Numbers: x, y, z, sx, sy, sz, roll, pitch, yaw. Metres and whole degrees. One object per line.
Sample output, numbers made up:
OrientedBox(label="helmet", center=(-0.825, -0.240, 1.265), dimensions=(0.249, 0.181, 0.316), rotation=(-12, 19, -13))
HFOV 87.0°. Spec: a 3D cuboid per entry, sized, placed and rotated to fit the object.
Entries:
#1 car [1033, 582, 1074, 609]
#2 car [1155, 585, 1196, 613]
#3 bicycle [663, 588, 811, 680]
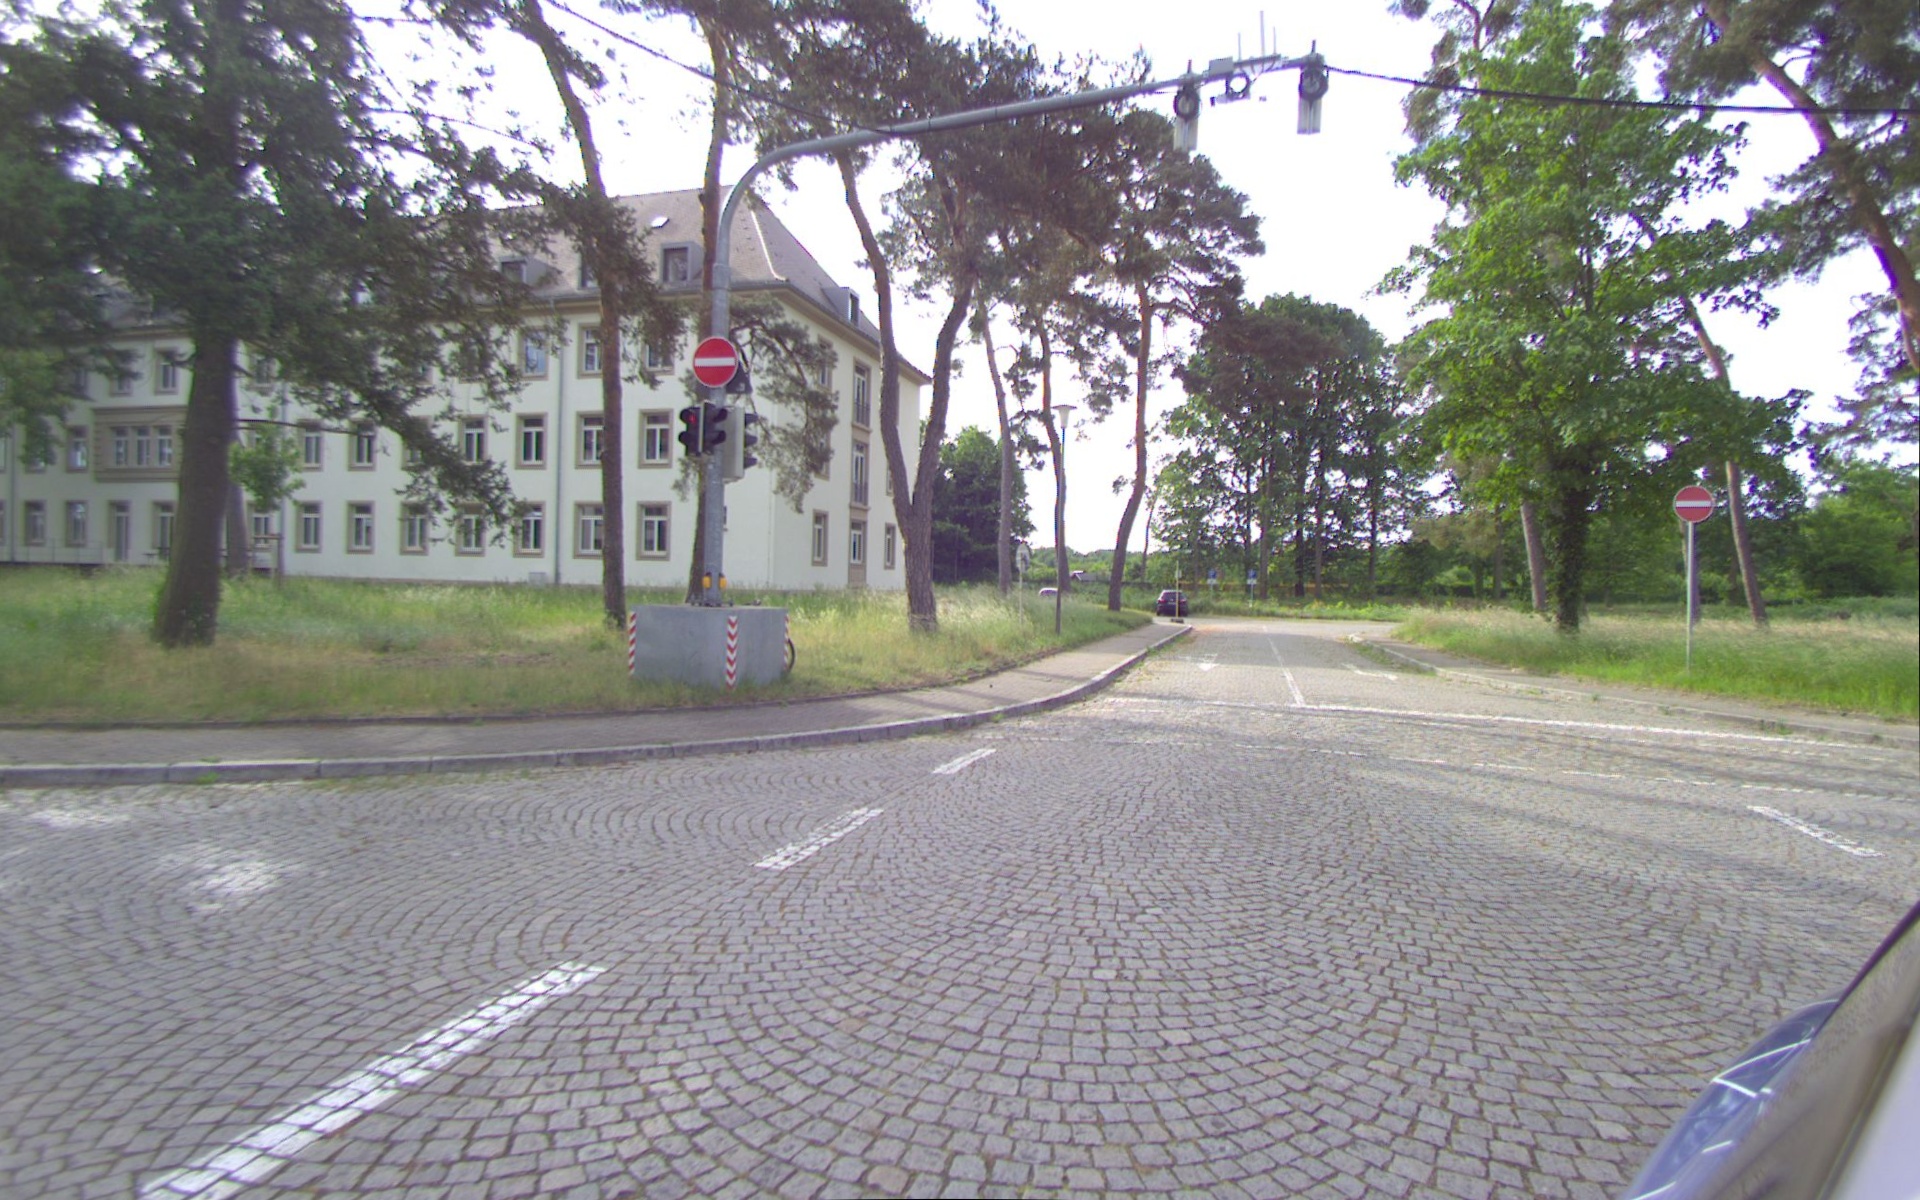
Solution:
OrientedBox(label="car", center=(5.831, -0.298, 62.879), dimensions=(1.750, 1.552, 3.673), rotation=(2, 1, 18))
OrientedBox(label="car", center=(12.814, -0.112, 59.928), dimensions=(1.974, 1.552, 3.977), rotation=(2, 1, 18))
OrientedBox(label="bicycle", center=(-2.925, 0.425, 13.305), dimensions=(1.807, 1.075, 0.644), rotation=(1, 4, 14))
